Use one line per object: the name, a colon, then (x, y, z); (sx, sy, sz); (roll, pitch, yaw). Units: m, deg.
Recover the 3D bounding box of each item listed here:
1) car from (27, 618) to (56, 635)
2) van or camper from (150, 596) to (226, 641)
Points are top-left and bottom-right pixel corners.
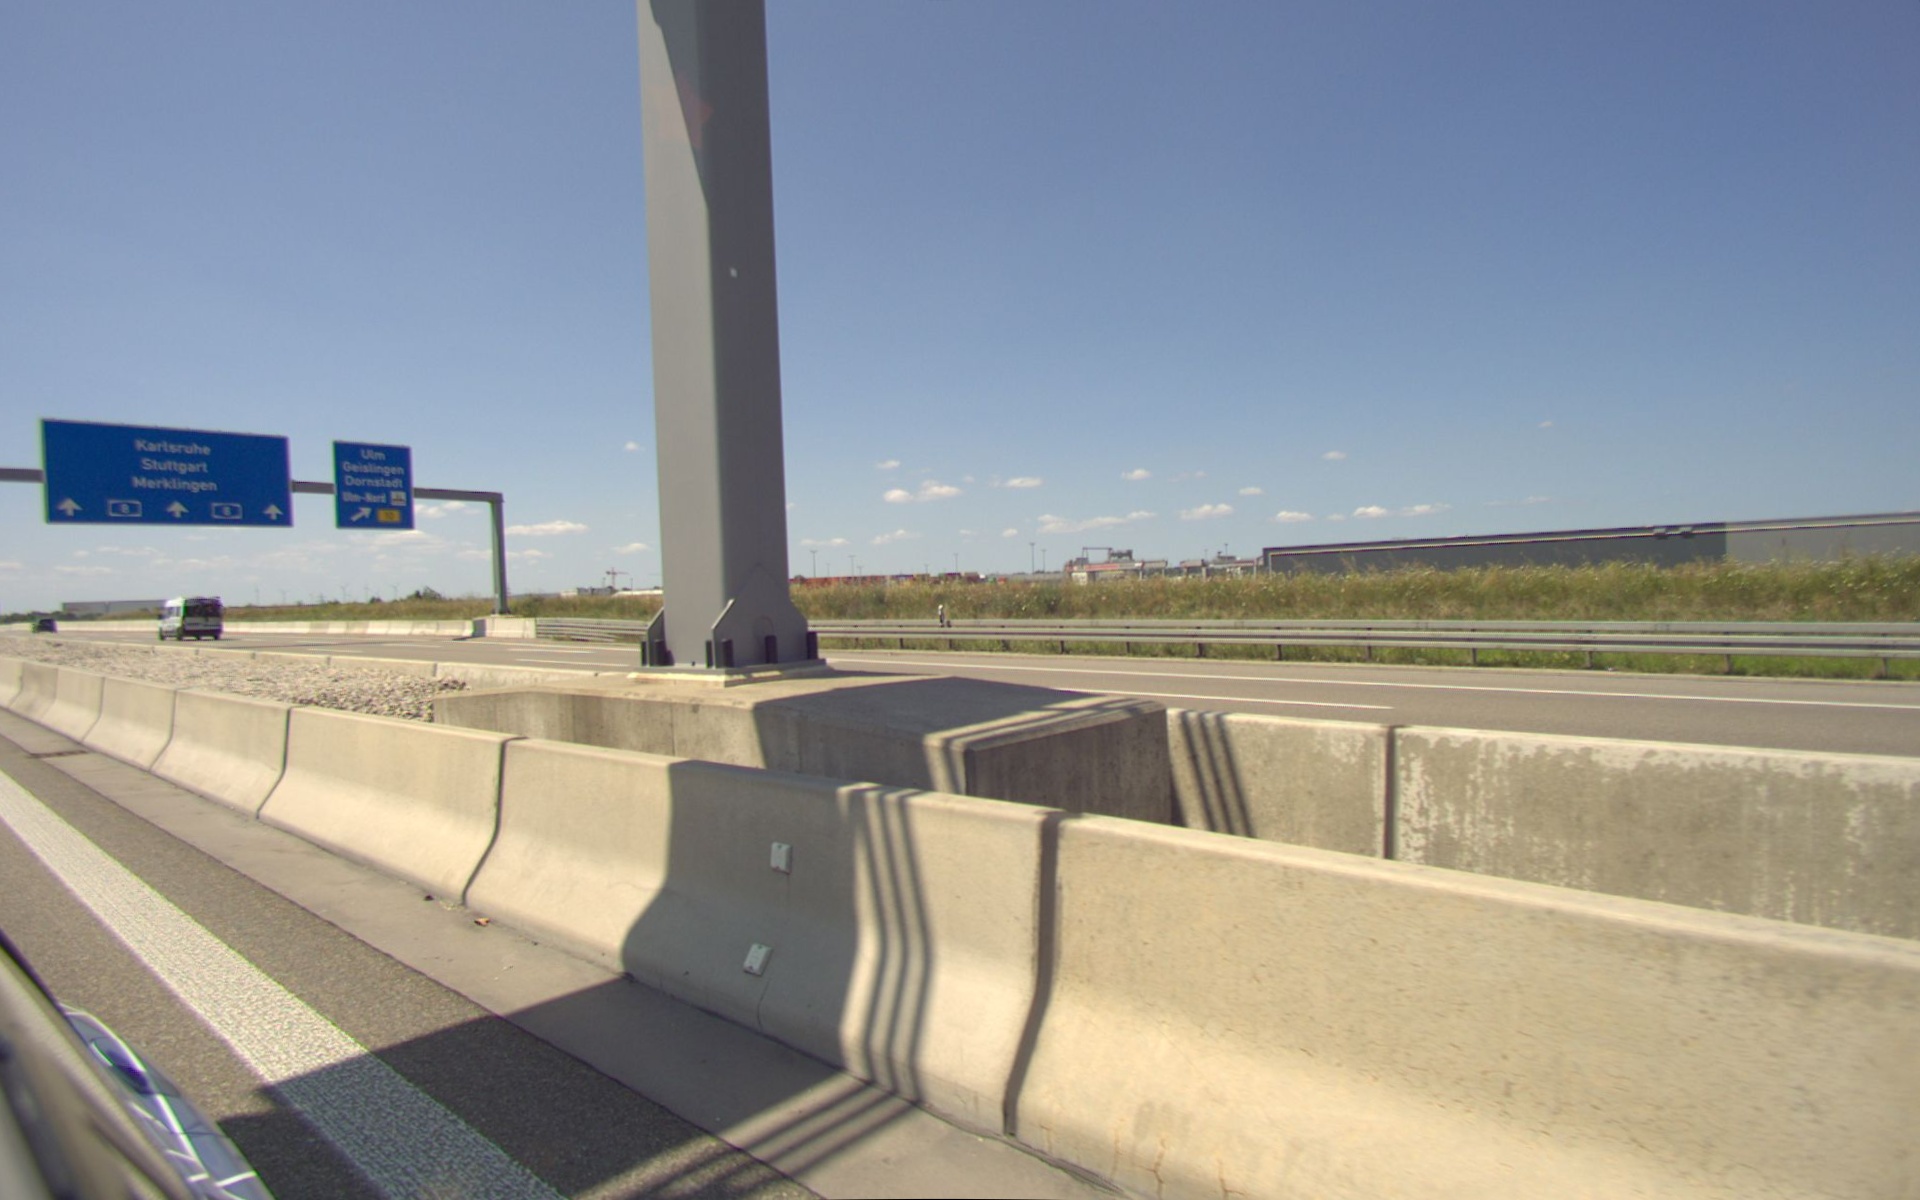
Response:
car: (-106.229, 3.100, 117.036); (4.917, 1.837, 1.827); (-2, -1, 40)
van or camper: (-46.064, 1.106, 60.336); (6.311, 2.577, 2.296); (-1, 0, 40)
